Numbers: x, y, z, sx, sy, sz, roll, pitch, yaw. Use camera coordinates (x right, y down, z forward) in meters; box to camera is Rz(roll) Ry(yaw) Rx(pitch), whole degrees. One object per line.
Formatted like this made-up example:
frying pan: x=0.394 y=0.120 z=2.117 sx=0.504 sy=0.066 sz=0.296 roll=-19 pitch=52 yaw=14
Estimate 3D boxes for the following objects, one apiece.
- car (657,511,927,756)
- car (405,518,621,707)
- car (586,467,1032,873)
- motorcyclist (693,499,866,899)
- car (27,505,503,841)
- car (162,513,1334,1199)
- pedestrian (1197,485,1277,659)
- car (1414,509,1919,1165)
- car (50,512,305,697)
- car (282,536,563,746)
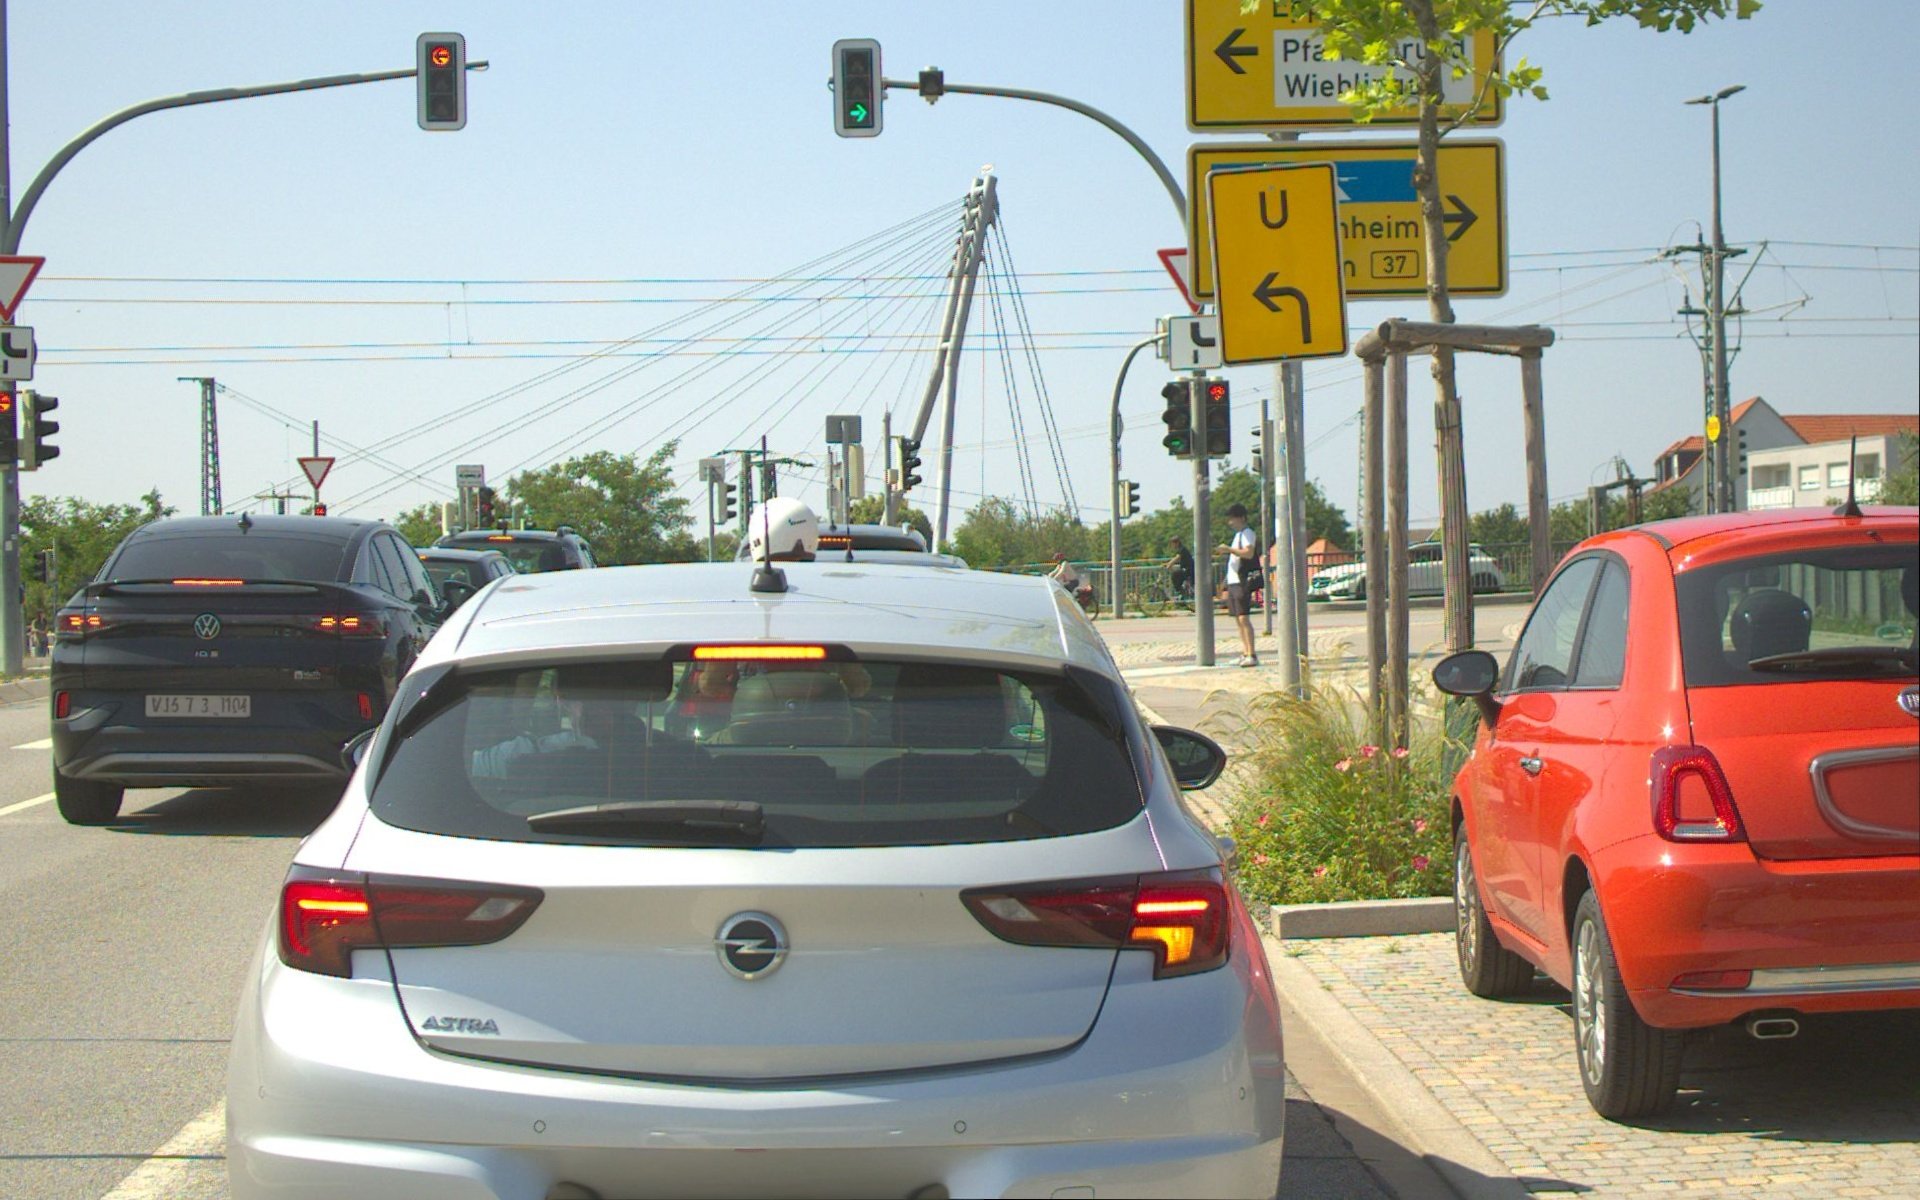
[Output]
car: x=-1.111 y=0.167 z=24.335 sx=1.724 sy=1.558 sz=4.000 roll=1 pitch=2 yaw=0
car: x=-4.041 y=0.086 z=31.556 sx=1.649 sy=1.610 sz=3.821 roll=1 pitch=1 yaw=-3
car: x=-0.708 y=0.260 z=17.764 sx=1.993 sy=1.814 sz=4.402 roll=1 pitch=2 yaw=-1
motorcyclist: x=-0.636 y=0.340 z=12.297 sx=0.581 sy=1.384 sz=0.707 roll=1 pitch=0 yaw=-1
car: x=-3.723 y=0.338 z=19.170 sx=1.801 sy=1.636 sz=4.366 roll=1 pitch=1 yaw=-1
car: x=-0.422 y=0.596 z=7.156 sx=1.742 sy=1.473 sz=4.001 roll=1 pitch=1 yaw=-3
pedestrian: x=3.008 y=-0.304 z=37.377 sx=0.647 sy=1.830 sz=0.798 roll=-4 pitch=0 yaw=-2
car: x=2.324 y=0.515 z=9.742 sx=1.610 sy=1.491 sz=3.352 roll=-2 pitch=1 yaw=1
car: x=-6.978 y=0.019 z=30.987 sx=1.597 sy=1.542 sz=3.763 roll=1 pitch=1 yaw=-3
car: x=-3.926 y=0.266 z=25.602 sx=1.575 sy=1.429 sz=3.786 roll=1 pitch=1 yaw=-1
